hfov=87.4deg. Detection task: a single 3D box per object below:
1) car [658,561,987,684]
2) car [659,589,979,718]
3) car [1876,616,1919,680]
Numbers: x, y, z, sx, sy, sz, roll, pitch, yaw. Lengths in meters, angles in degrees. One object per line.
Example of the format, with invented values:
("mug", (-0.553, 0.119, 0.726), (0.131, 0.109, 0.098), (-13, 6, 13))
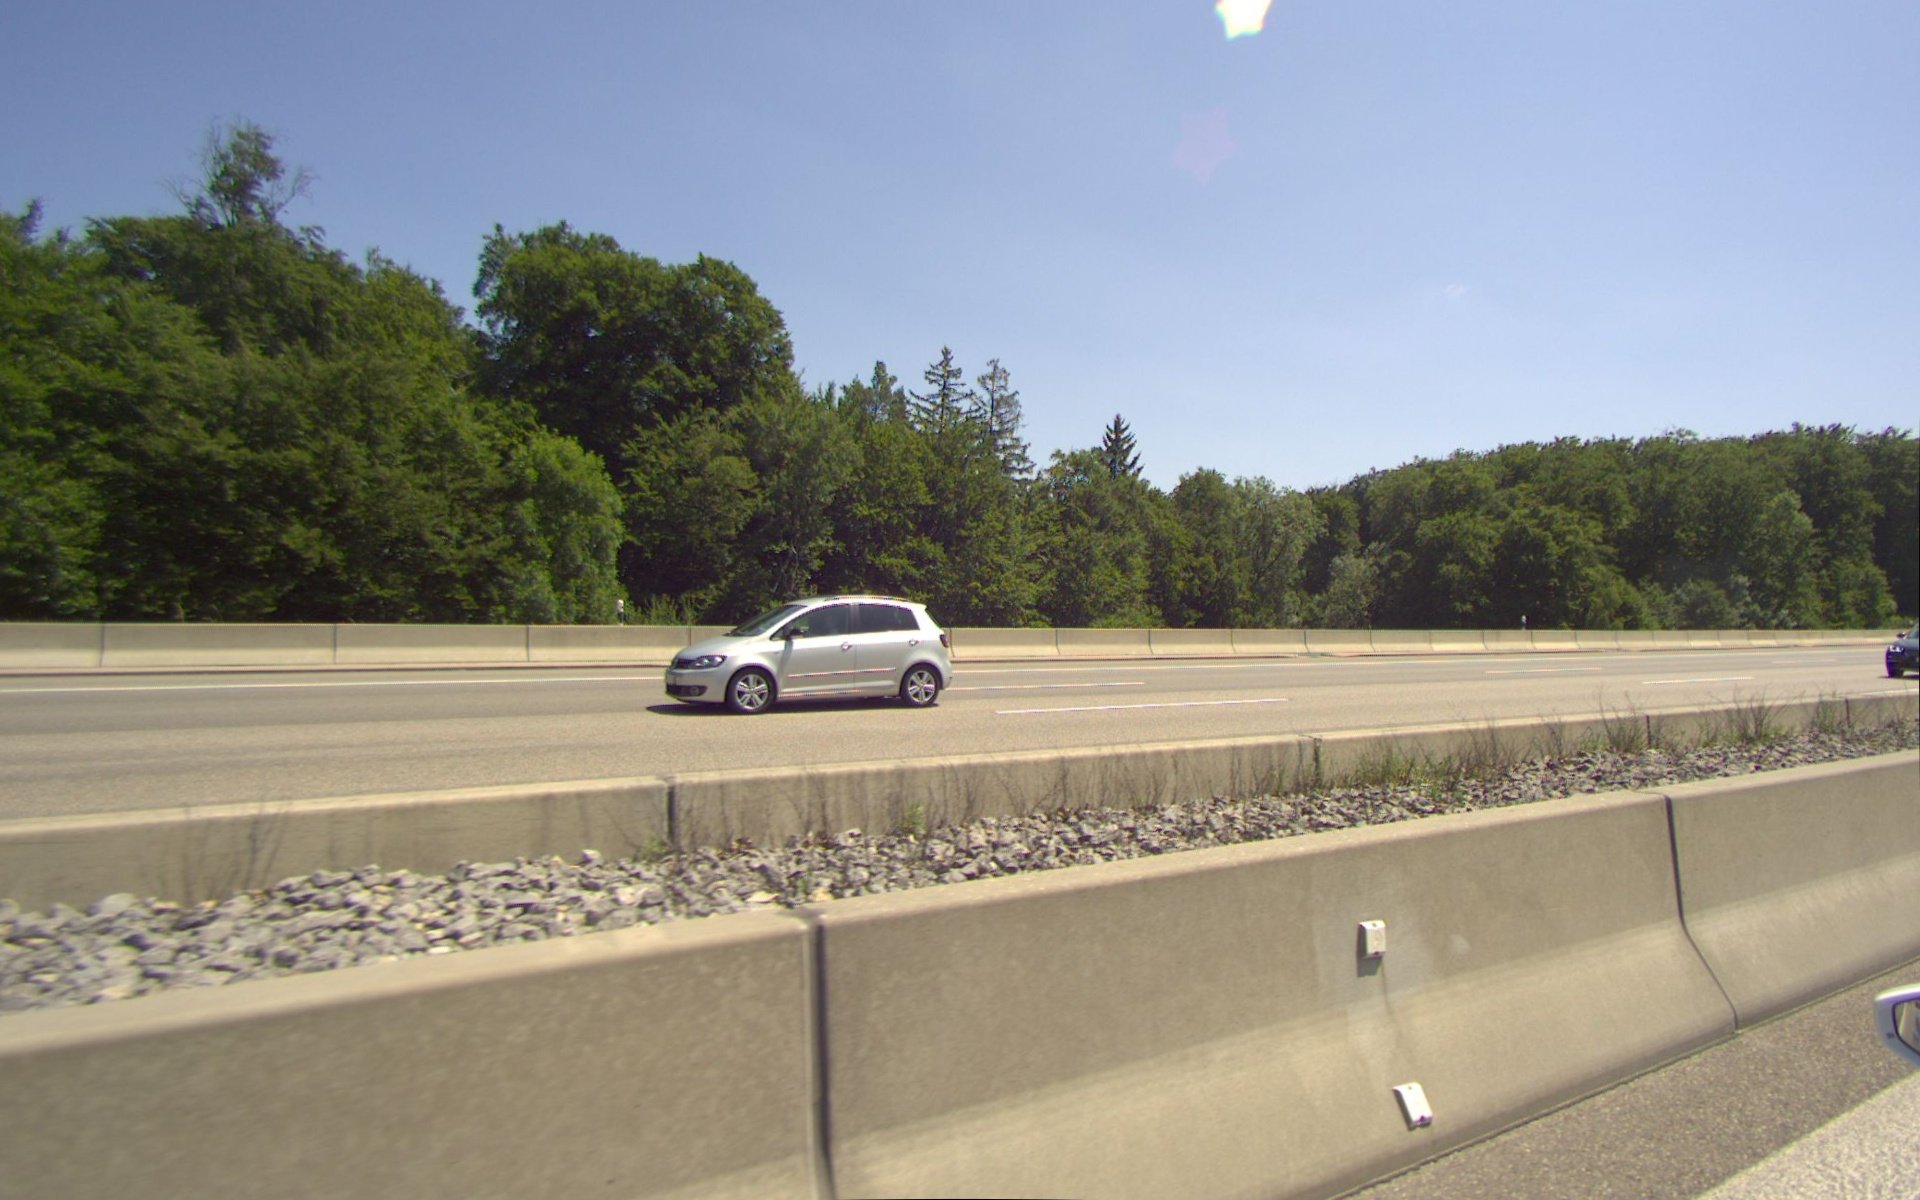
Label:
("car", (-1.962, 0.285, 14.635), (4.328, 1.552, 1.983), (1, 1, -31))
("car", (-1.983, 0.714, 14.465), (4.232, 1.626, 1.709), (1, 0, -30))
("car", (27.340, 1.301, 27.829), (4.586, 1.657, 1.745), (0, 0, -32))
